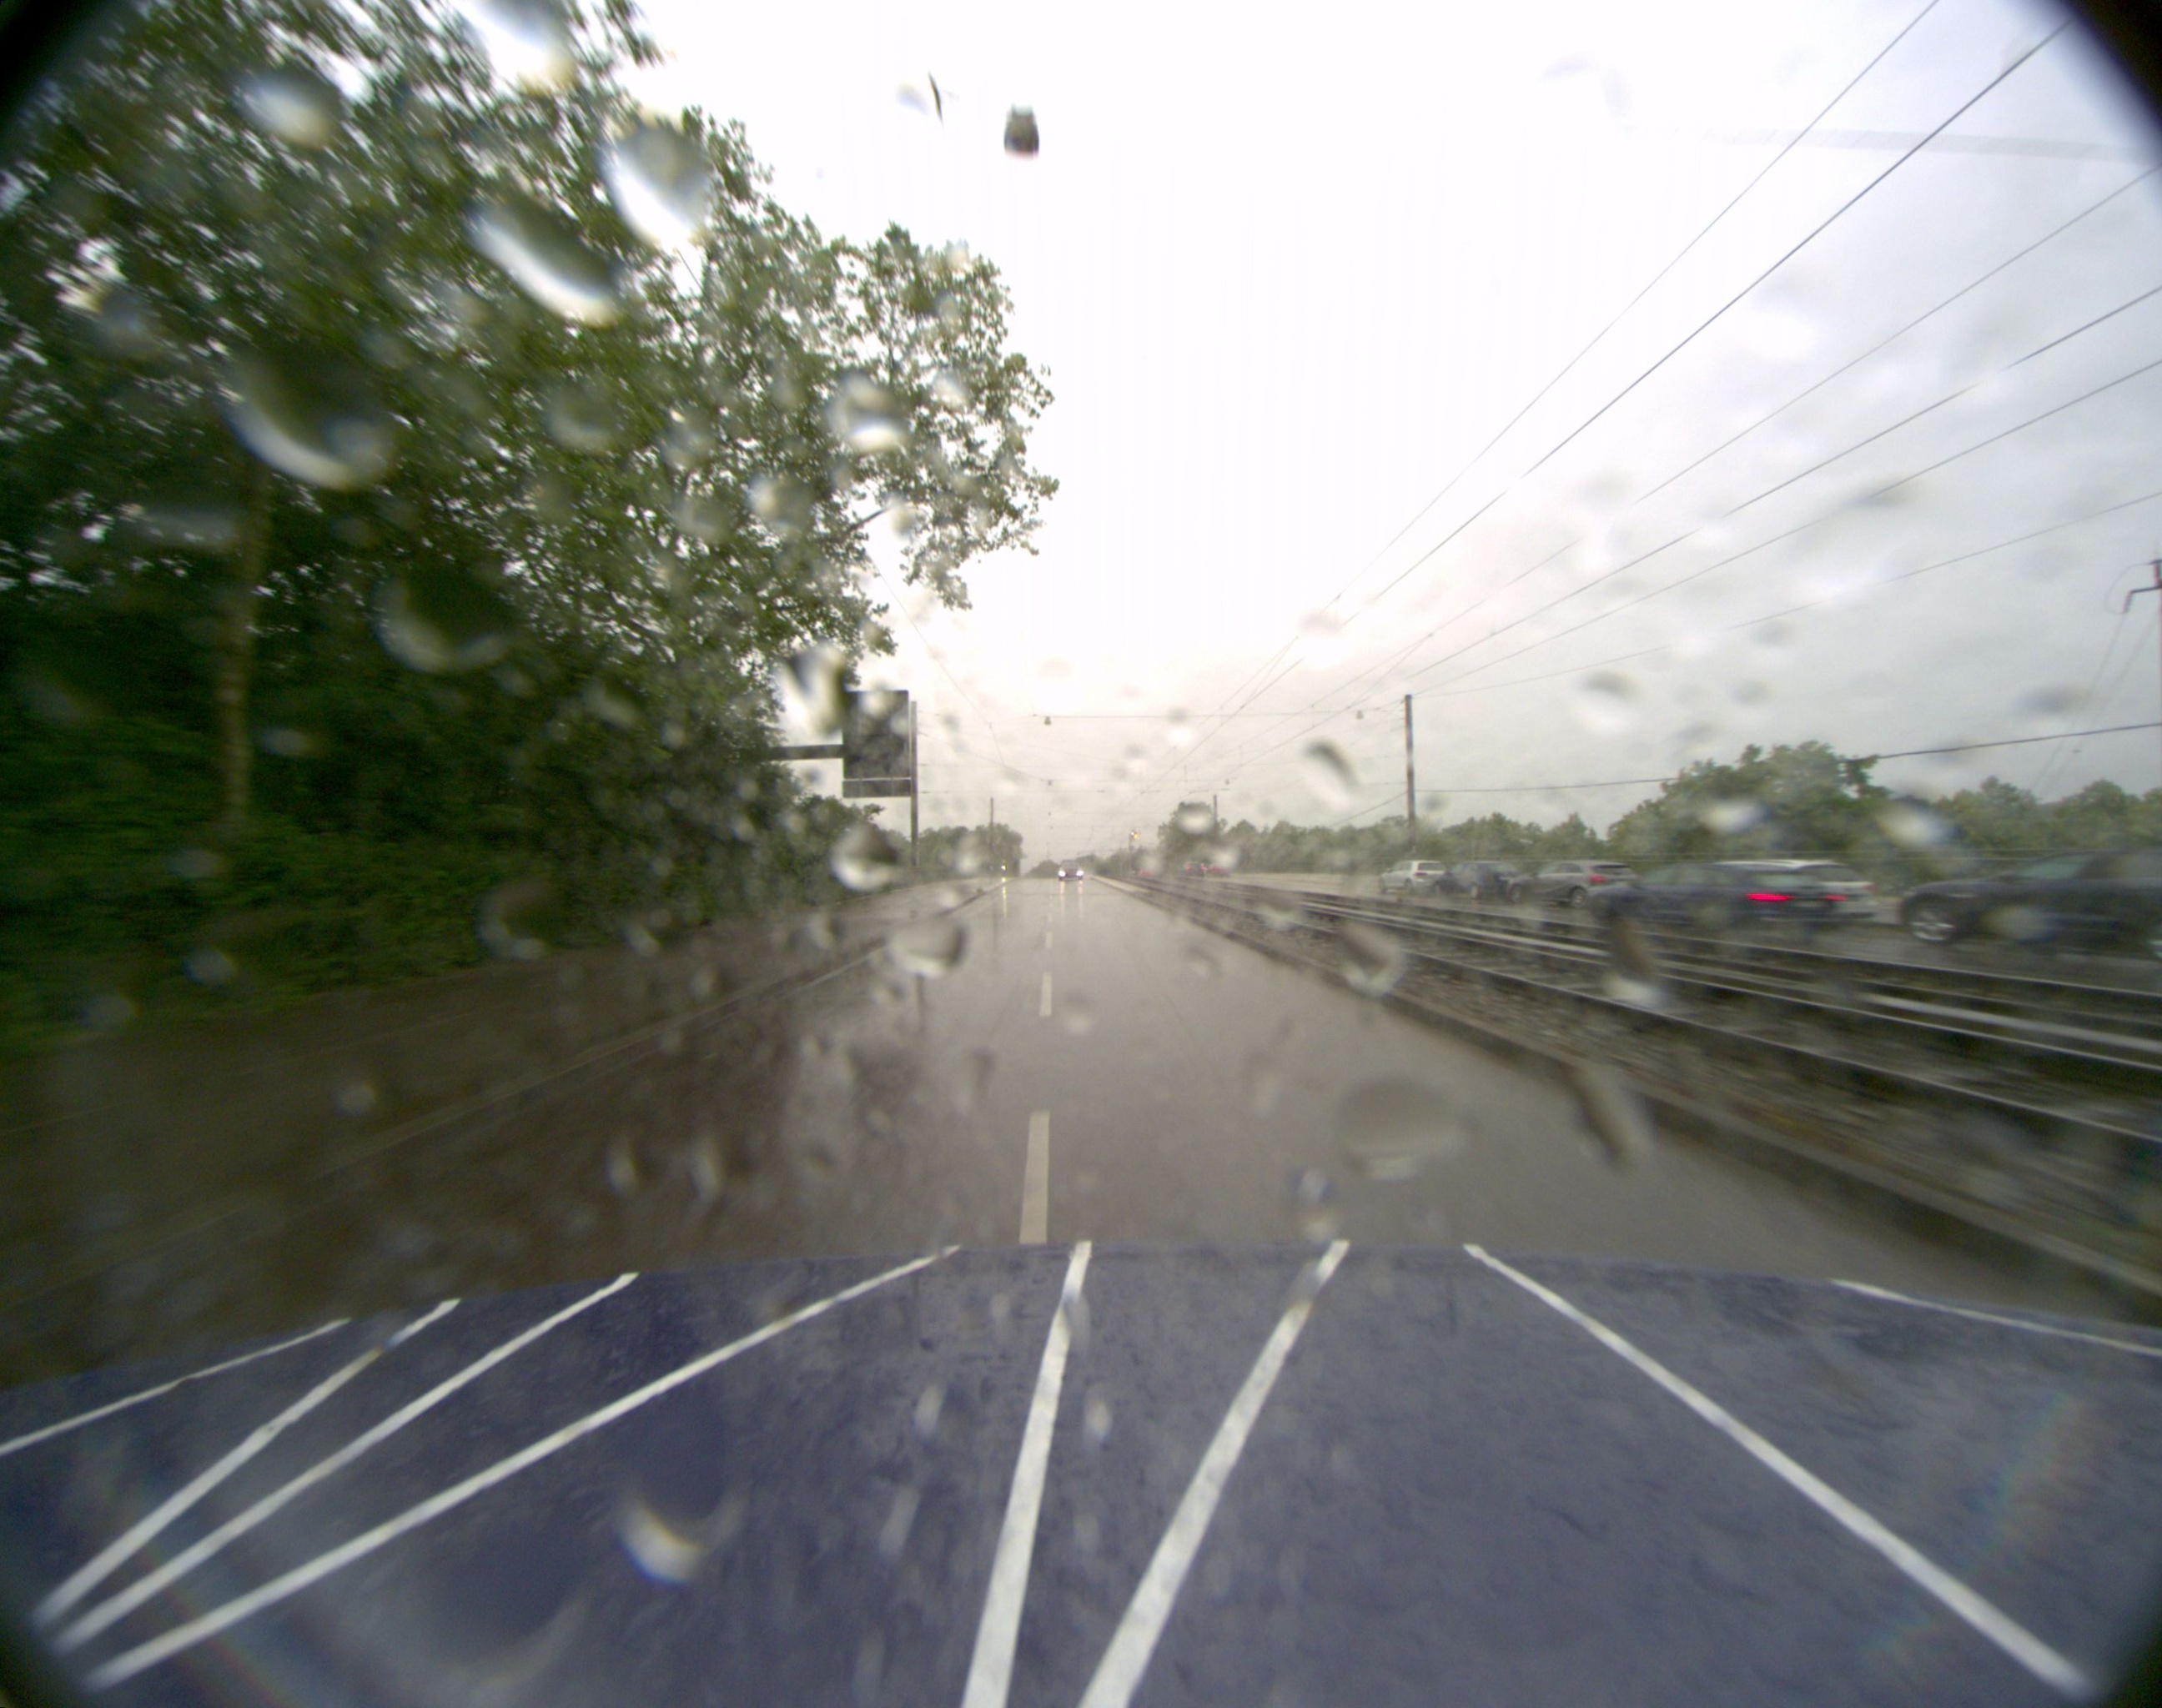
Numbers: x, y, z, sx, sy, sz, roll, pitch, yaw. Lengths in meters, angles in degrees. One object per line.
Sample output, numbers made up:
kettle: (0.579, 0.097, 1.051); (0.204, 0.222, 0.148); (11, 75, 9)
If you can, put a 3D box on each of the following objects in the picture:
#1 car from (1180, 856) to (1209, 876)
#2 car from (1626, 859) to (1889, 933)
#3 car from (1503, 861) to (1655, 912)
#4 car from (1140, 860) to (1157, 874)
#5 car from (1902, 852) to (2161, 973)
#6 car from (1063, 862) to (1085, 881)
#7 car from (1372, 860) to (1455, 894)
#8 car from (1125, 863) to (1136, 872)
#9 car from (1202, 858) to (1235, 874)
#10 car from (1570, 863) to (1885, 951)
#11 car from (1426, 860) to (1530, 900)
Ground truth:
car: (10.425, 1.052, 69.852); (1.999, 1.706, 3.999); (-2, 0, -1)
car: (15.363, 0.864, 17.693); (1.891, 1.502, 4.577); (0, 0, -3)
car: (15.175, 0.934, 23.449); (1.653, 1.423, 4.130); (0, 0, -7)
car: (9.124, 1.729, 103.296); (1.998, 1.706, 4.000); (-2, 0, 0)
car: (15.560, 0.798, 11.294); (1.891, 1.640, 4.368); (0, 0, -3)
car: (-0.563, 1.388, 62.526); (1.727, 1.425, 3.851); (-2, 0, 0)
car: (14.835, 0.988, 34.124); (1.653, 1.423, 4.151); (0, 0, -5)
car: (10.078, 2.723, 155.764); (1.998, 1.706, 4.000); (-2, 0, 0)
car: (13.548, 1.147, 75.203); (2.039, 1.458, 4.917); (-2, 0, -4)
car: (12.674, 0.927, 15.472); (2.039, 1.458, 4.917); (0, 0, -4)
car: (15.060, 0.944, 29.071); (1.653, 1.423, 3.924); (0, 0, -6)
